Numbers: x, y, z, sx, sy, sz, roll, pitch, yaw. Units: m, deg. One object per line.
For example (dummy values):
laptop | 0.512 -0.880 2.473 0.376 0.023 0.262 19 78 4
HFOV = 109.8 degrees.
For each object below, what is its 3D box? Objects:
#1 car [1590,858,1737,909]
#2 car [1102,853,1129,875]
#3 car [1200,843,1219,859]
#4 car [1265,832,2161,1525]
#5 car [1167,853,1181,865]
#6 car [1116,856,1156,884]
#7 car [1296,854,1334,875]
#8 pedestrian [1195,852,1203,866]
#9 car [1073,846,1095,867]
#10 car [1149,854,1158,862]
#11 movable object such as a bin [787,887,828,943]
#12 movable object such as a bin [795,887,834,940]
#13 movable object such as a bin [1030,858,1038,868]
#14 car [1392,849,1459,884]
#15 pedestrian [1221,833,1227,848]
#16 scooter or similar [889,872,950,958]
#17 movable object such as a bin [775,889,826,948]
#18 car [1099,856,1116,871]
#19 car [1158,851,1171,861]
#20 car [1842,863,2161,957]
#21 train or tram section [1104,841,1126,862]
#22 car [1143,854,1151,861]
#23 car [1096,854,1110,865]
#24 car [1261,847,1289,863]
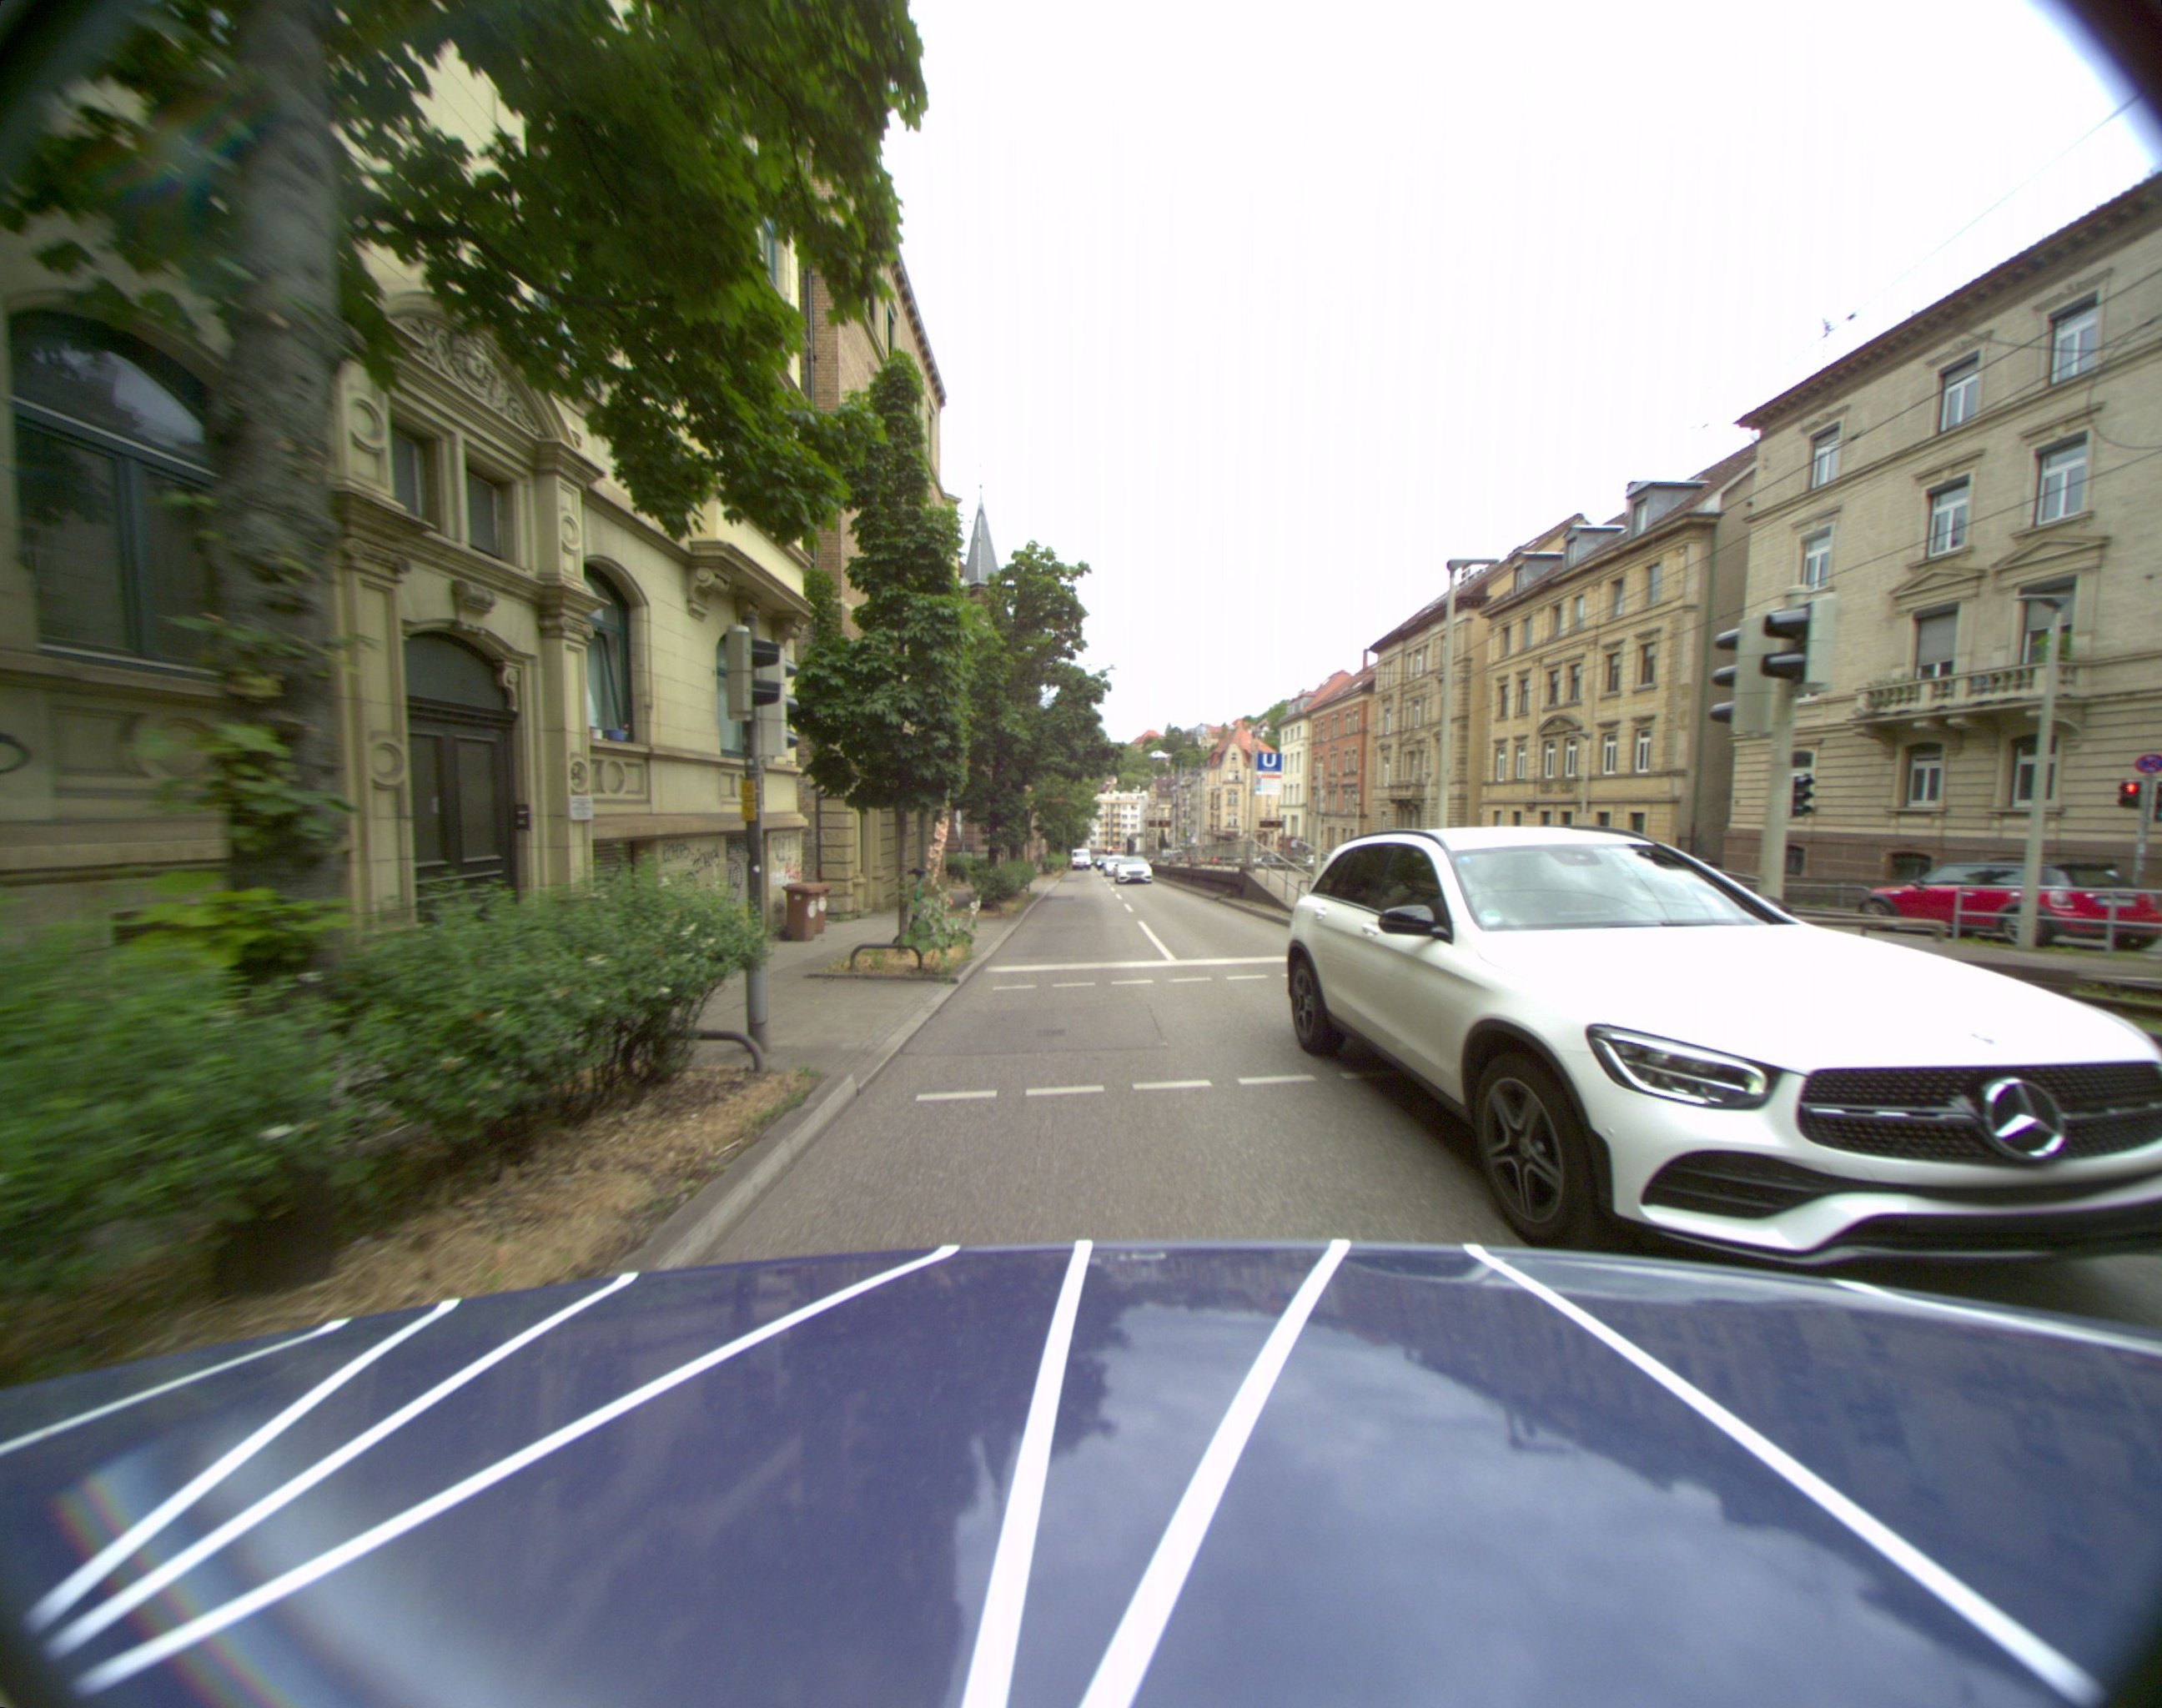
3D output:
car | 18.907 0.897 24.935 1.682 1.439 4.218 1 0 2
car | 2.504 0.690 55.822 1.806 1.542 4.000 -1 0 0
car | 19.468 -0.478 115.466 1.998 2.291 5.455 0 0 0
car | 2.499 0.766 4.177 1.840 1.657 4.670 -2 1 0
car | 18.313 0.886 149.691 1.998 2.291 5.455 0 0 0
car | 2.890 0.816 40.583 1.806 1.391 4.000 -1 0 0
car | 19.324 0.836 62.922 1.940 1.670 4.000 1 0 0
pedestrian | 13.776 0.581 88.701 0.767 1.678 0.843 0 0 1
car | 0.315 0.274 84.980 2.263 2.274 5.967 -1 0 0
car | 16.014 0.933 167.989 1.827 1.754 3.865 0 0 3
movable object such as a bin | -4.757 1.043 13.203 0.503 0.914 0.491 1 1 -41
movable object such as a bin | -4.863 1.072 13.853 0.500 0.914 0.444 1 0 20
movable object such as a bin | -4.338 0.797 69.881 0.672 0.937 0.539 0 1 4
car | 19.225 0.661 42.602 1.853 1.849 4.138 0 0 0
pedestrian | 14.578 -1.370 77.395 0.463 1.553 0.540 0 0 0
scooter or similar | -2.666 0.981 12.673 0.663 1.296 1.383 2 1 0
movable object such as a bin | -4.645 1.055 12.606 0.613 0.914 0.493 2 1 3
car | 2.701 1.000 78.179 1.695 1.466 3.857 0 0 1
car | 15.909 0.372 144.789 1.999 1.884 4.414 0 0 -1
car | 16.029 0.882 13.493 1.580 1.369 3.656 0 0 6
train or tram section | 5.829 -0.448 133.332 2.968 3.456 14.407 1 0 -1
car | 16.236 0.942 187.208 1.827 1.754 3.864 0 0 2
car | 2.753 0.686 96.045 1.562 1.330 4.000 0 0 0
car | 19.943 0.106 78.371 1.883 1.519 4.000 1 0 0
